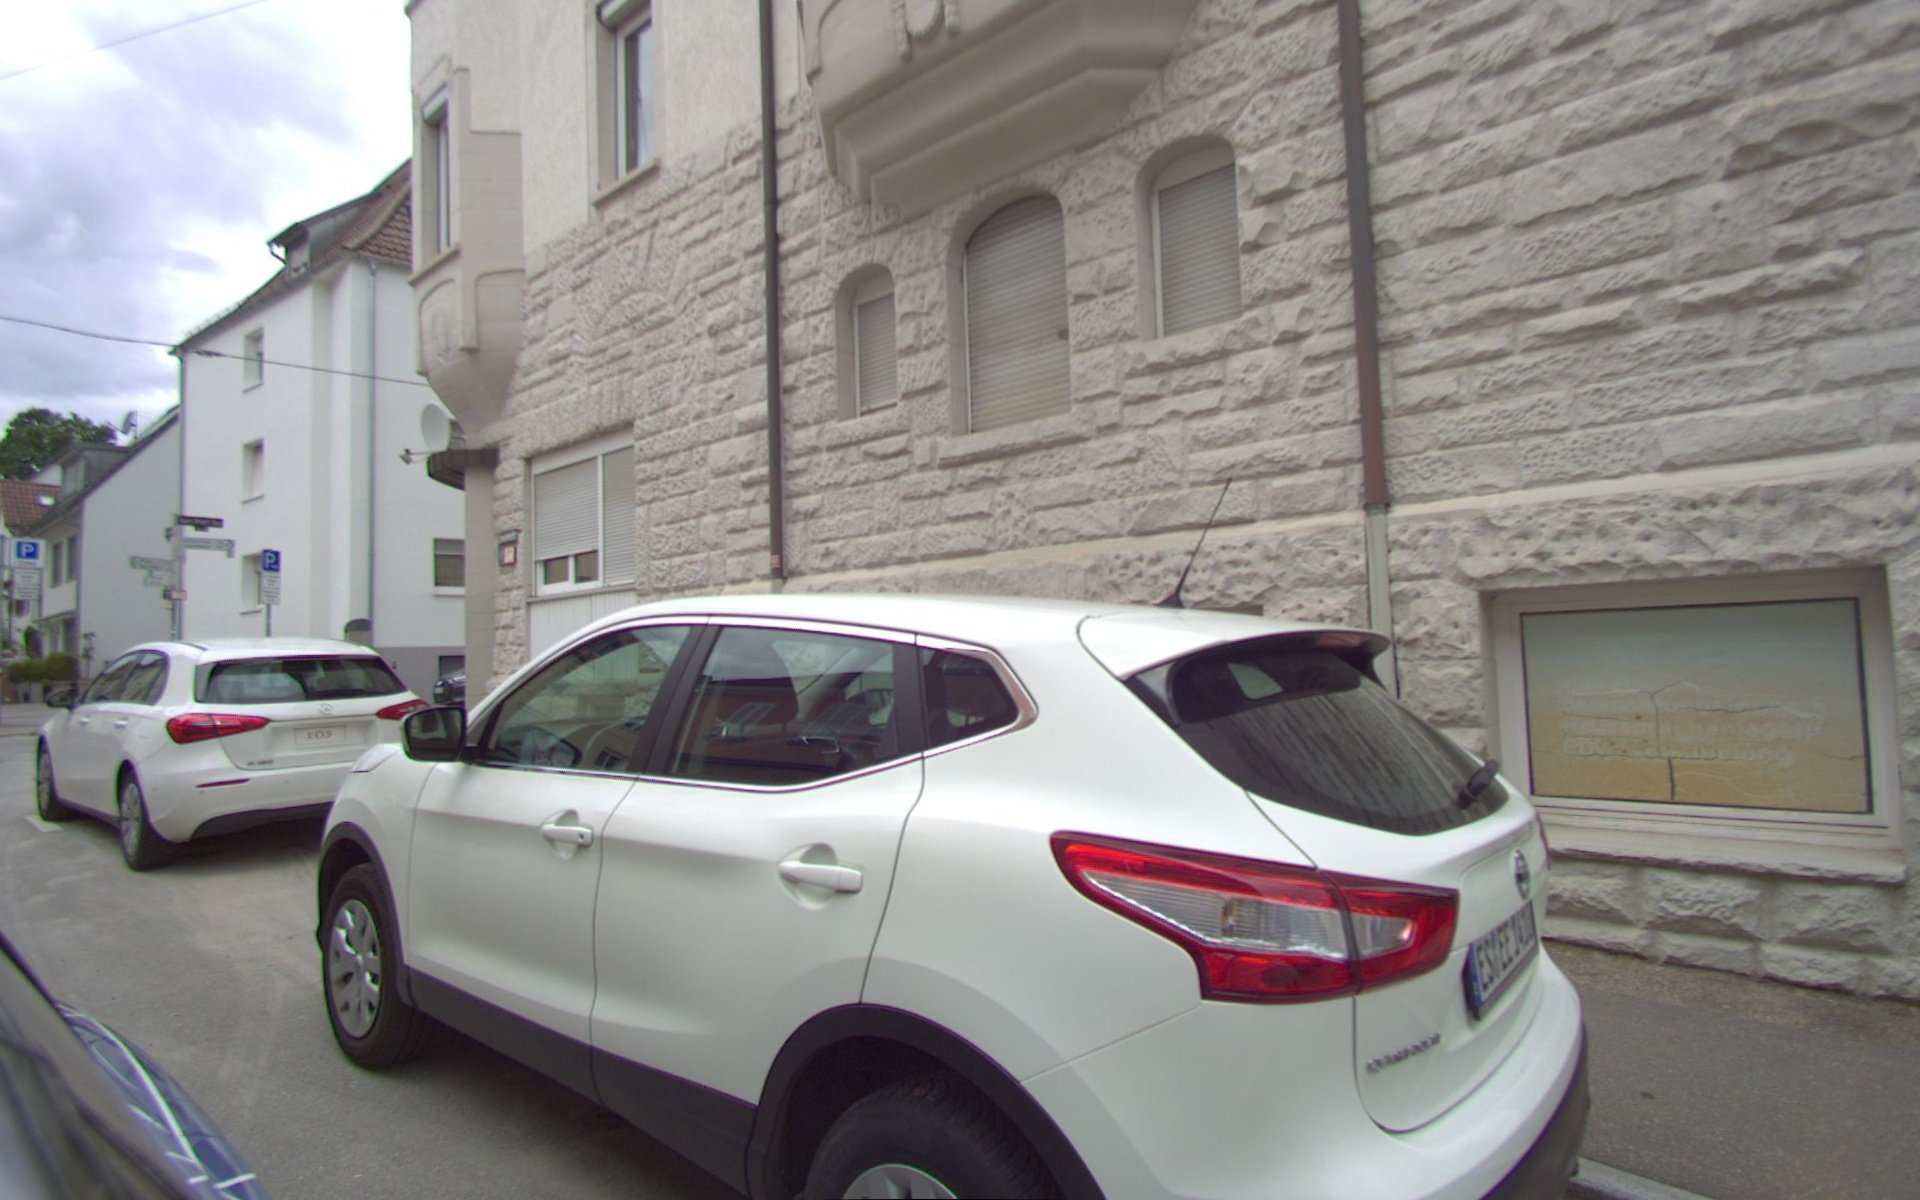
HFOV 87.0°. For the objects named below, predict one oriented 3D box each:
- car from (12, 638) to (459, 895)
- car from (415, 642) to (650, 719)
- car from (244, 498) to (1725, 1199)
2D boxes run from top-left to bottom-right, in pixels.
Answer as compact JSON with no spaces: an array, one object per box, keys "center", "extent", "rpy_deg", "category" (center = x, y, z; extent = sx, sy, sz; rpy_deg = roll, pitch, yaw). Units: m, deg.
[{"center":[-5.625,1.019,7.657],"extent":[4.236,1.425,1.682],"rpy_deg":[-2,-3,39],"category":"car"},{"center":[-9.052,1.685,21.658],"extent":[1.827,1.402,4.235],"rpy_deg":[-6,-5,44],"category":"car"},{"center":[-0.385,0.748,3.067],"extent":[4.236,1.527,1.827],"rpy_deg":[-2,-3,39],"category":"car"}]
